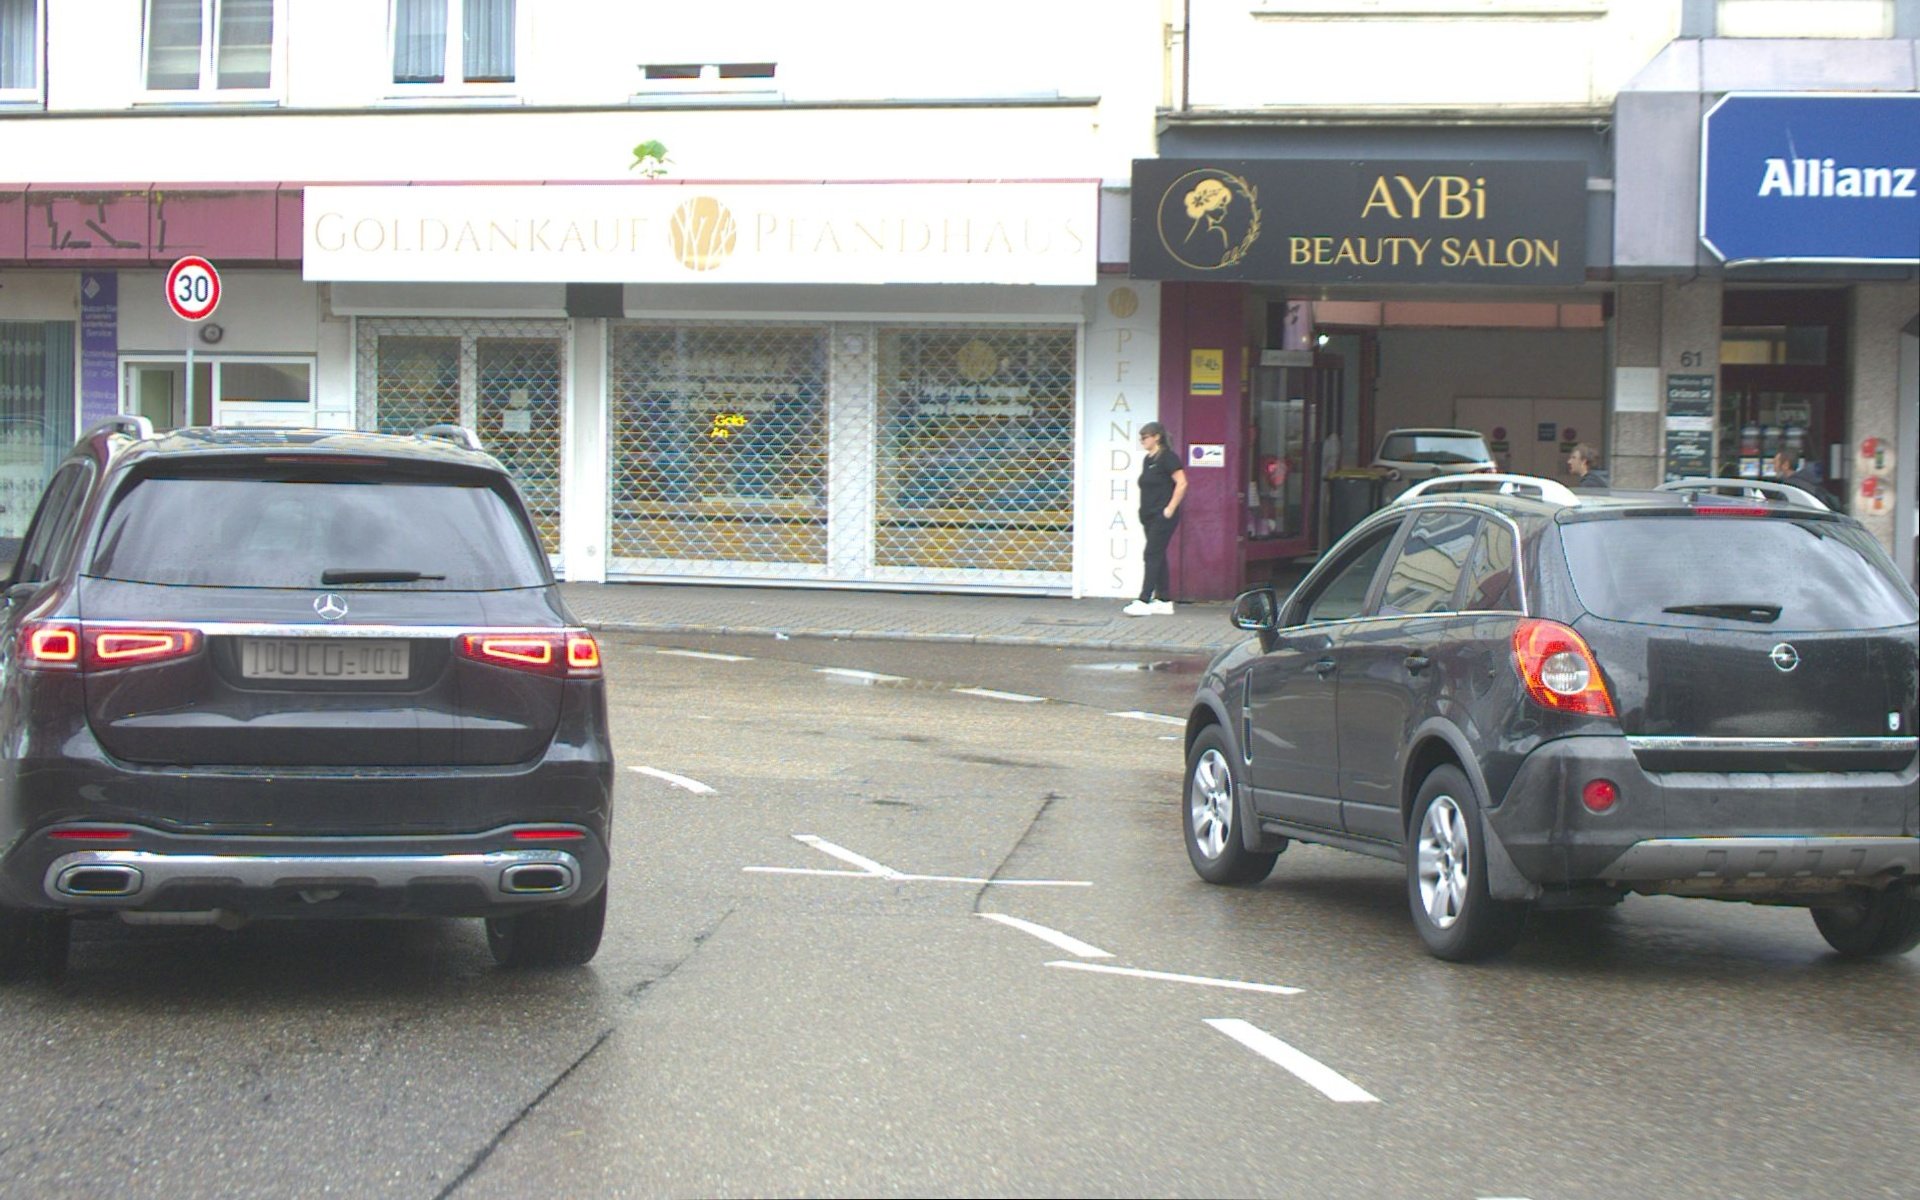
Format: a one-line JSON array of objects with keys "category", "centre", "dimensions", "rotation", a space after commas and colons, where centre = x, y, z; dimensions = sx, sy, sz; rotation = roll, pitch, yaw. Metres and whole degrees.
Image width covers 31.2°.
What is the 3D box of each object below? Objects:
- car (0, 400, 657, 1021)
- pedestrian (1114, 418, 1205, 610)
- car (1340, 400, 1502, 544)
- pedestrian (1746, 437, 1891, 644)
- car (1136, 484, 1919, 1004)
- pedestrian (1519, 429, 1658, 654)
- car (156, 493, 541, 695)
[{"category": "car", "centre": [-2.581, 0.251, 12.398], "dimensions": [2.038, 1.792, 4.664], "rotation": [1, 2, -17]}, {"category": "pedestrian", "centre": [1.820, -0.789, 31.364], "dimensions": [0.753, 1.683, 0.566], "rotation": [2, 7, 8]}, {"category": "car", "centre": [5.666, -1.549, 42.621], "dimensions": [1.797, 1.664, 3.999], "rotation": [1, 1, 5]}, {"category": "pedestrian", "centre": [7.355, -0.521, 29.484], "dimensions": [1.030, 1.683, 0.830], "rotation": [1, 7, 6]}, {"category": "car", "centre": [2.260, 0.399, 13.578], "dimensions": [1.897, 1.689, 4.507], "rotation": [0, 2, -14]}, {"category": "pedestrian", "centre": [5.274, -0.503, 28.923], "dimensions": [1.030, 1.793, 0.830], "rotation": [1, 7, 6]}, {"category": "car", "centre": [-4.694, -0.068, 25.951], "dimensions": [1.766, 1.392, 4.001], "rotation": [0, 1, -27]}]
